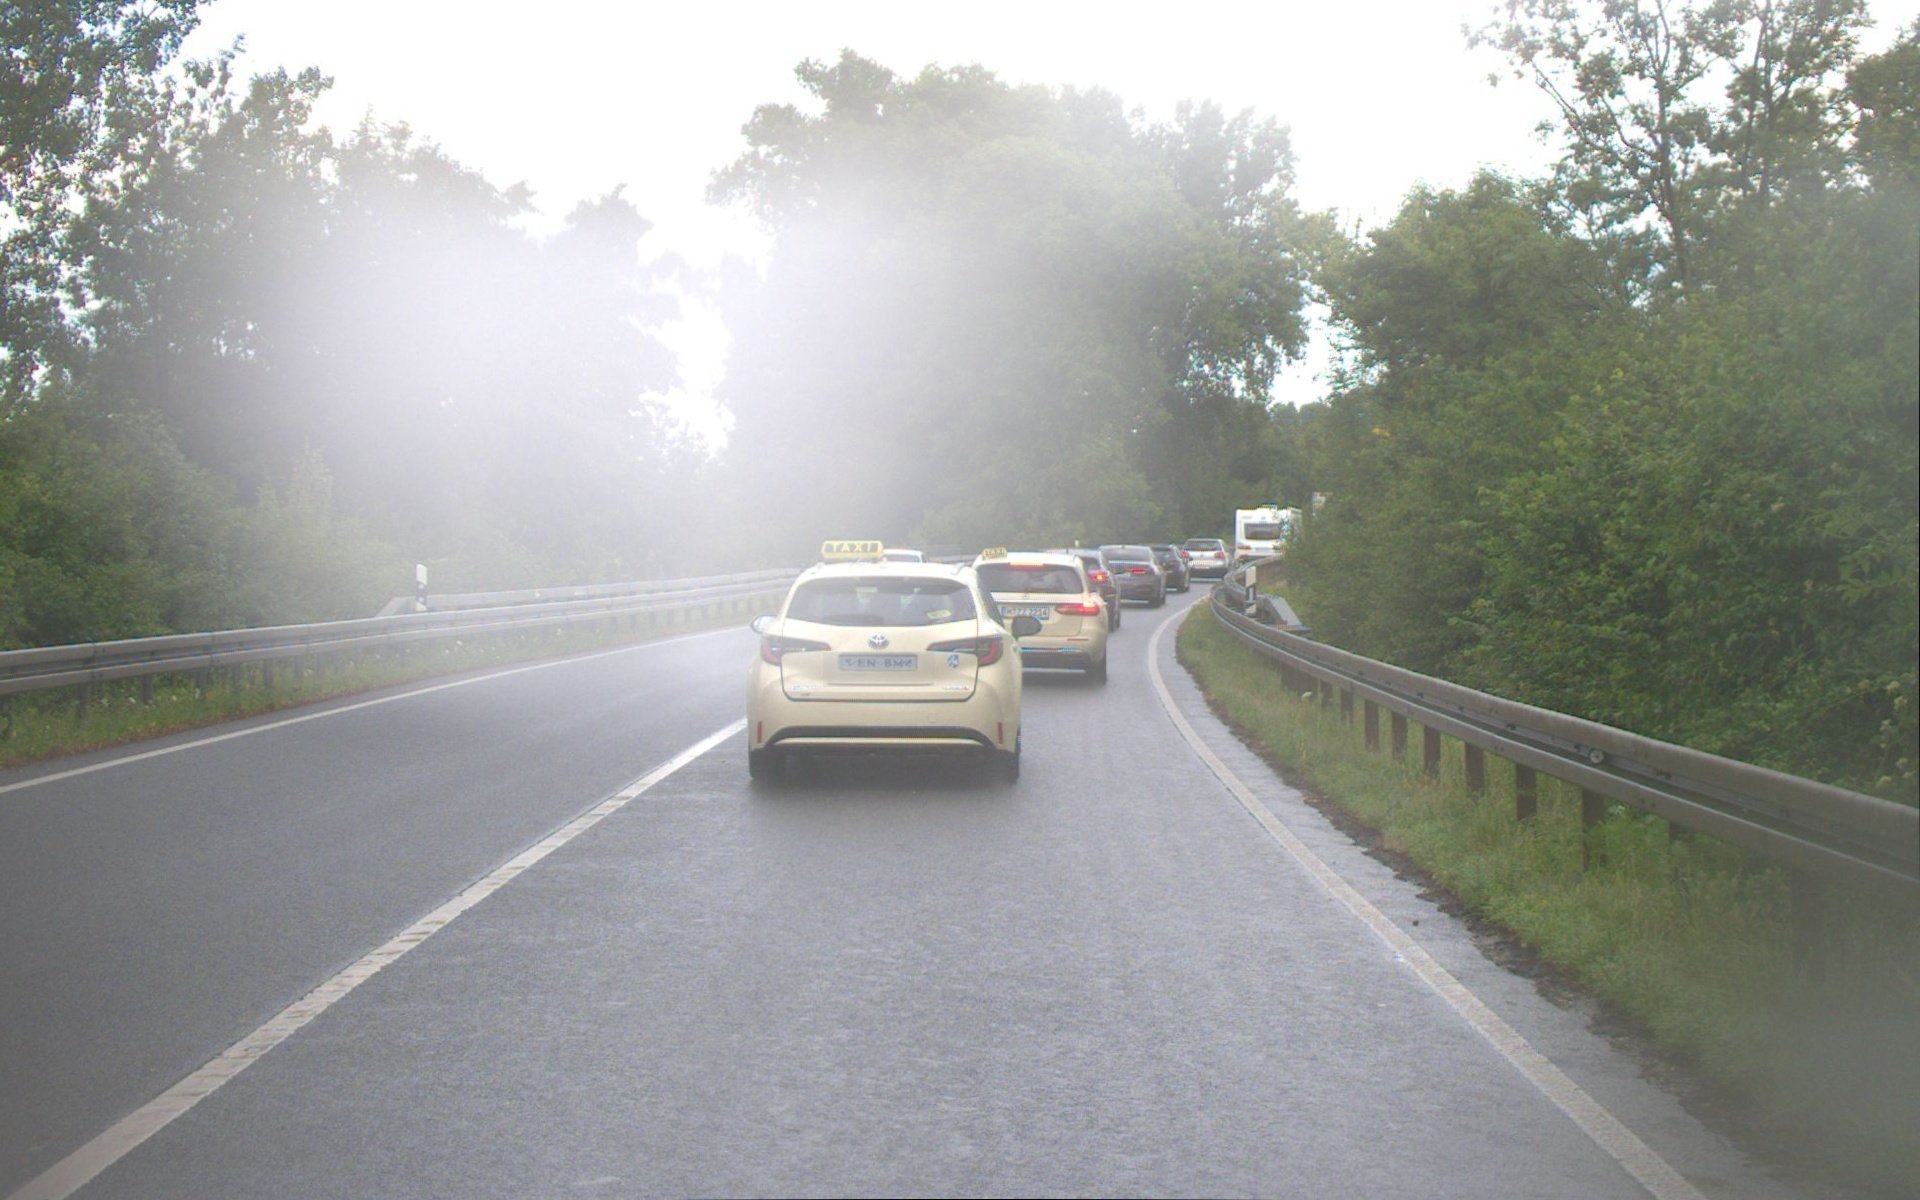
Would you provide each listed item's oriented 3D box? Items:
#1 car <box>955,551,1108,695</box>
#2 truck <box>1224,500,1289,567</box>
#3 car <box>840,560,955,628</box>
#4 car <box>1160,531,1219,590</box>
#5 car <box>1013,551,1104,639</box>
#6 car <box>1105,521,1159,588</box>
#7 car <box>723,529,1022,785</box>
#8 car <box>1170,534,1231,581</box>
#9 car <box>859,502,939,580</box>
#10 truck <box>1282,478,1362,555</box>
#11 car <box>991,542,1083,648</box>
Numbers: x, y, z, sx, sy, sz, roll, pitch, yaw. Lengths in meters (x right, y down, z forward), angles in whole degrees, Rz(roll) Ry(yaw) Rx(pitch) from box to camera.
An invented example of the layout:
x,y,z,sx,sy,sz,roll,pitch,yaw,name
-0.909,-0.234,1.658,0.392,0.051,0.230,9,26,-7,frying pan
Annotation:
x,y,z,sx,sy,sz,roll,pitch,yaw,name
0.820,0.252,39.657,1.667,1.575,3.892,0,0,1,car
12.513,-2.777,145.444,2.550,2.704,7.534,0,0,4,truck
-1.246,-0.115,70.283,1.813,1.350,3.999,0,0,7,car
6.495,-1.109,96.945,1.616,1.607,3.621,0,0,4,car
1.854,-0.074,63.534,1.611,1.541,3.813,0,-1,3,car
4.108,-1.075,81.948,1.167,1.541,2.603,0,0,5,car
-0.508,0.353,23.438,1.834,1.575,4.156,0,0,1,car
8.180,-1.430,116.579,1.770,1.541,3.812,0,0,8,car
-1.616,-1.554,92.386,1.993,2.007,4.000,0,0,1,car
18.119,-4.150,171.685,3.109,3.668,6.996,0,0,13,truck
1.154,-0.073,52.296,1.300,1.541,3.260,0,0,0,car
